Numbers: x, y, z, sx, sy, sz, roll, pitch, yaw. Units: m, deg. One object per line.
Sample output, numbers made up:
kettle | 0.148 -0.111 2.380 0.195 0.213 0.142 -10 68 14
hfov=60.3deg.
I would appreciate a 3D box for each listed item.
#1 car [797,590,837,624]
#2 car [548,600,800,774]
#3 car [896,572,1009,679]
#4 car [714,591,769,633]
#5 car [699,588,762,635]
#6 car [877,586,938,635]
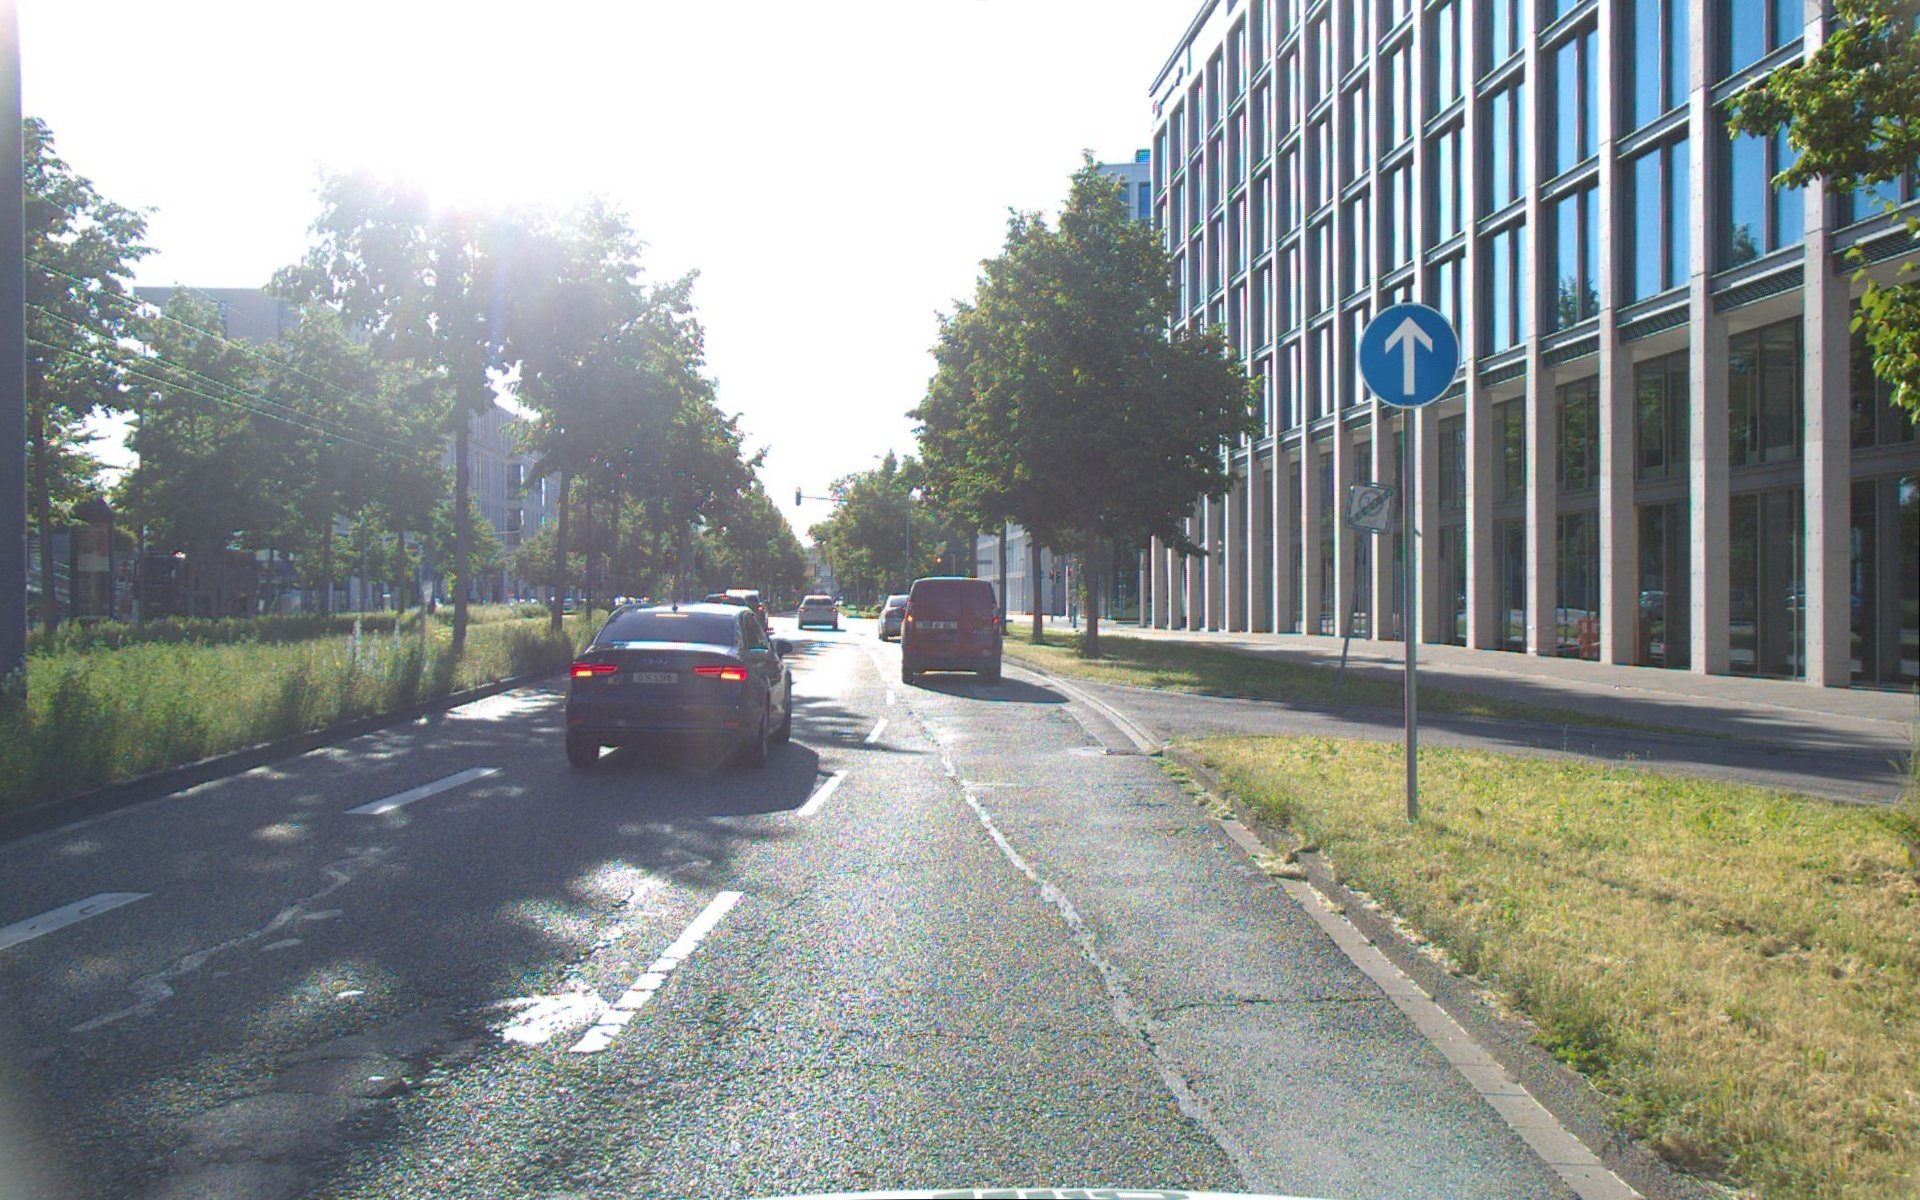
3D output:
car | -6.174 0.276 71.600 1.687 1.450 3.813 0 0 -5
car | -2.513 0.702 15.436 1.686 1.390 4.145 1 0 -1
car | -0.196 0.418 29.830 1.762 1.808 3.996 0 0 -4
car | -8.381 0.427 63.795 1.806 1.561 3.937 0 0 -3
car | -7.374 0.342 53.340 1.905 1.466 3.994 0 0 -7
car | -1.756 0.315 54.286 1.688 1.450 3.812 2 1 -6
